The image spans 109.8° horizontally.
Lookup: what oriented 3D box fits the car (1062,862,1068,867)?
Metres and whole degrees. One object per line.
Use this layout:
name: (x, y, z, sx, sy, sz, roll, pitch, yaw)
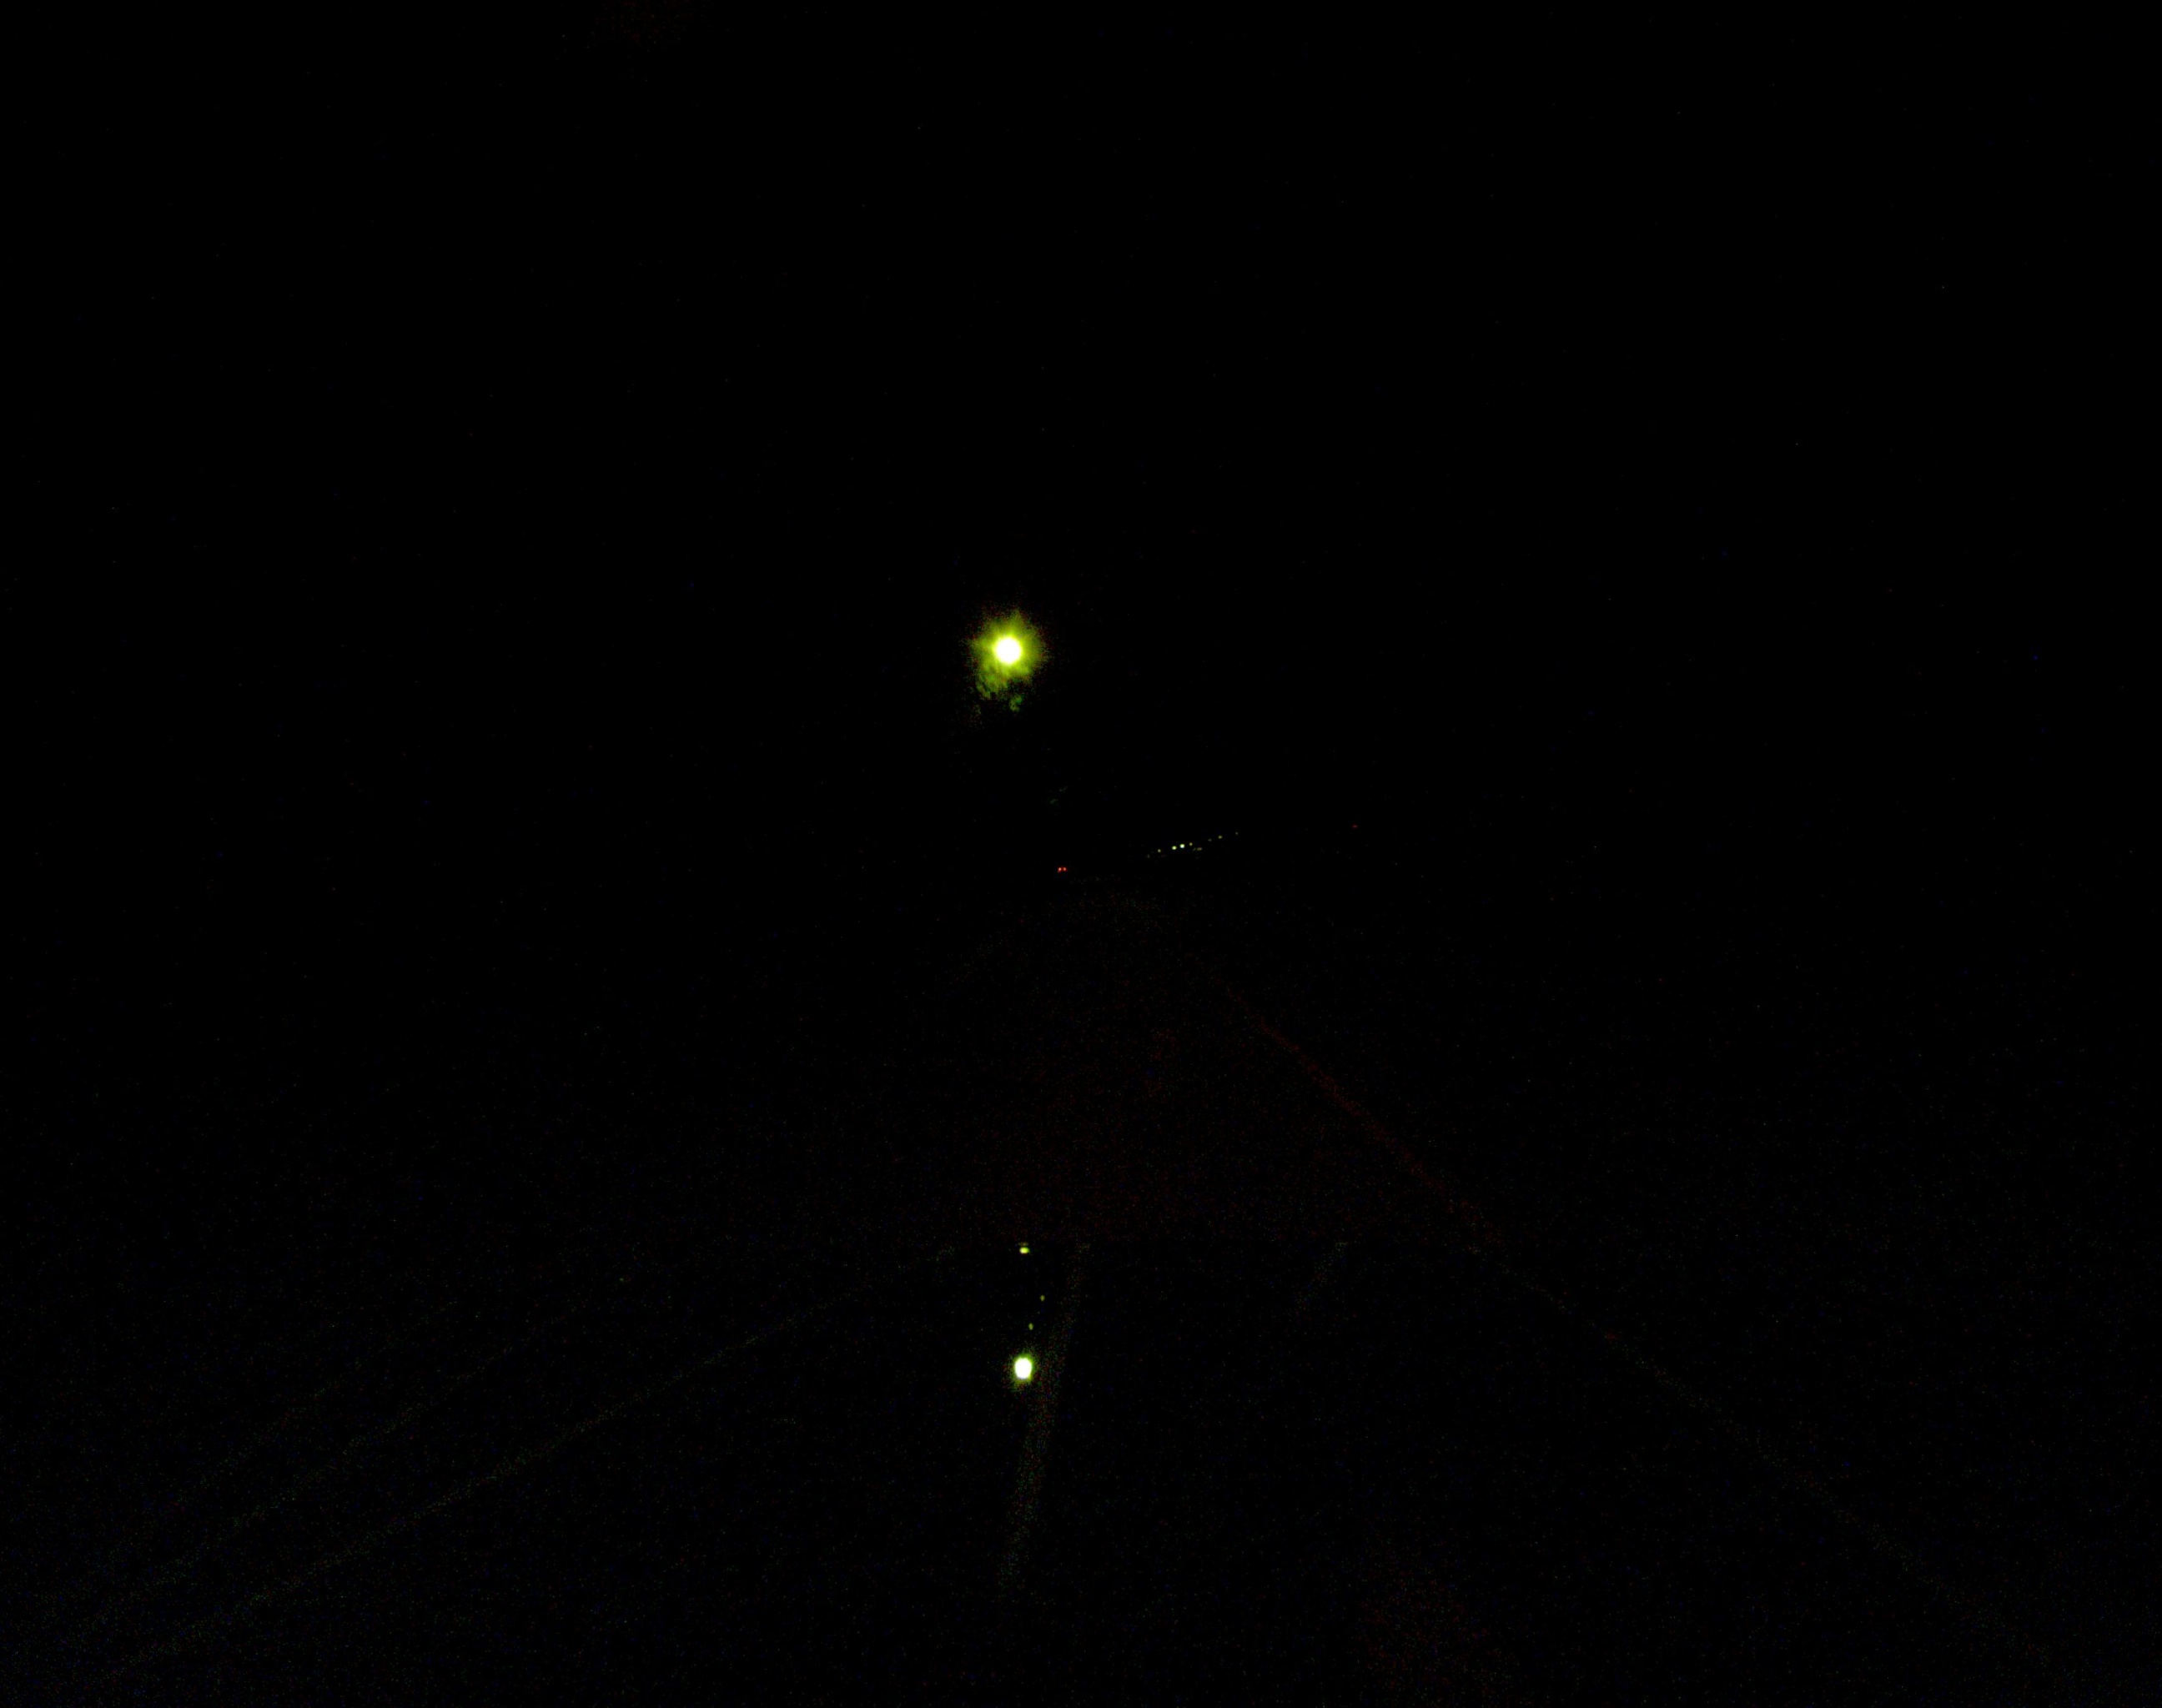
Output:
car: (-4.333, 2.839, 205.686, 1.651, 1.482, 3.557, -2, 0, -2)
